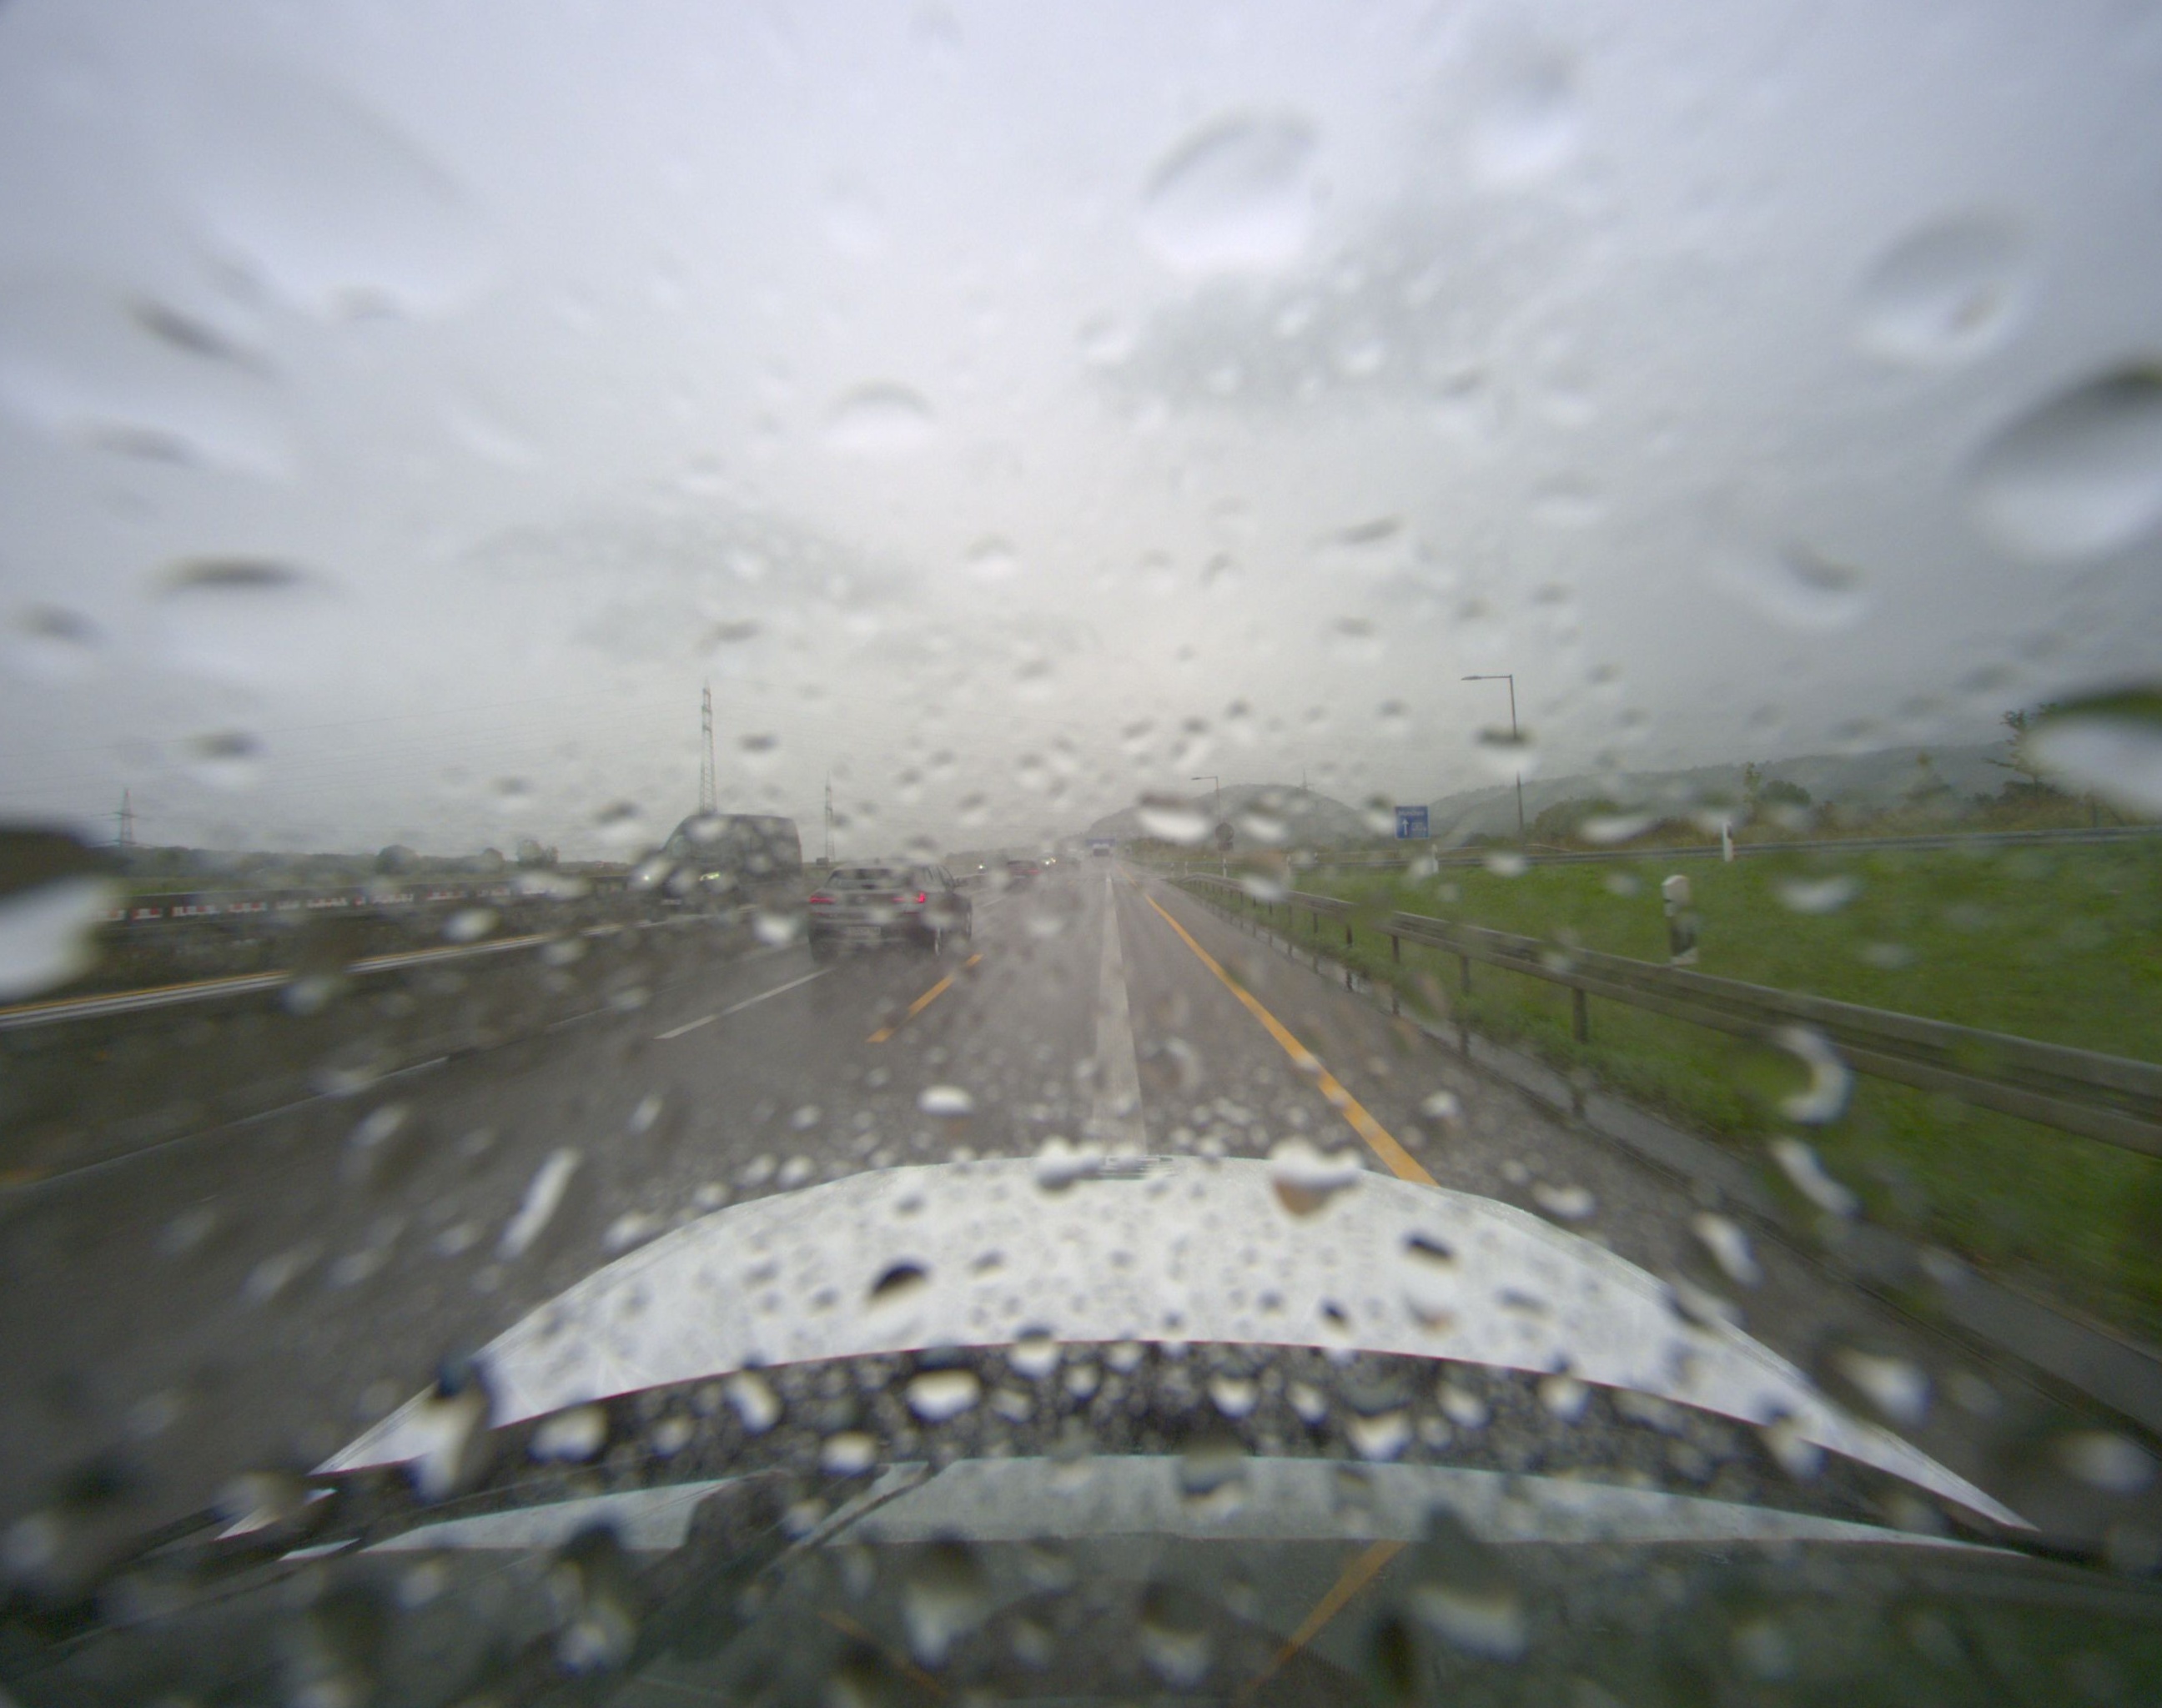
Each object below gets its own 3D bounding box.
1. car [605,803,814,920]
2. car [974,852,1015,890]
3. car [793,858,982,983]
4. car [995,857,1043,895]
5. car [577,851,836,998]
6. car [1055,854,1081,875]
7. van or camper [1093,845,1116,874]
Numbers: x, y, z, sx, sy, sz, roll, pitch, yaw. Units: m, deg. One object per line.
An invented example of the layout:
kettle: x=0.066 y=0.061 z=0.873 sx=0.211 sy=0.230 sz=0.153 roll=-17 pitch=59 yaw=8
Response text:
car: x=-9.217 y=0.184 z=21.042 sx=2.061 sy=2.517 sz=6.183 roll=-2 pitch=0 yaw=5
car: x=-5.029 y=0.962 z=47.885 sx=1.805 sy=2.095 sz=4.164 roll=-2 pitch=0 yaw=1
car: x=-2.808 y=0.917 z=12.961 sx=1.694 sy=1.598 sz=4.846 roll=-1 pitch=-1 yaw=2
car: x=-2.552 y=0.909 z=34.434 sx=1.839 sy=1.491 sz=4.257 roll=0 pitch=-1 yaw=-2
car: x=-6.003 y=0.982 z=13.876 sx=1.986 sy=2.002 sz=4.802 roll=-2 pitch=0 yaw=2
car: x=-1.032 y=0.765 z=63.986 sx=1.839 sy=1.491 sz=4.259 roll=-3 pitch=0 yaw=-1
van or camper: x=2.328 y=0.596 z=82.101 sx=1.991 sy=2.778 sz=4.045 roll=0 pitch=-2 yaw=-2
